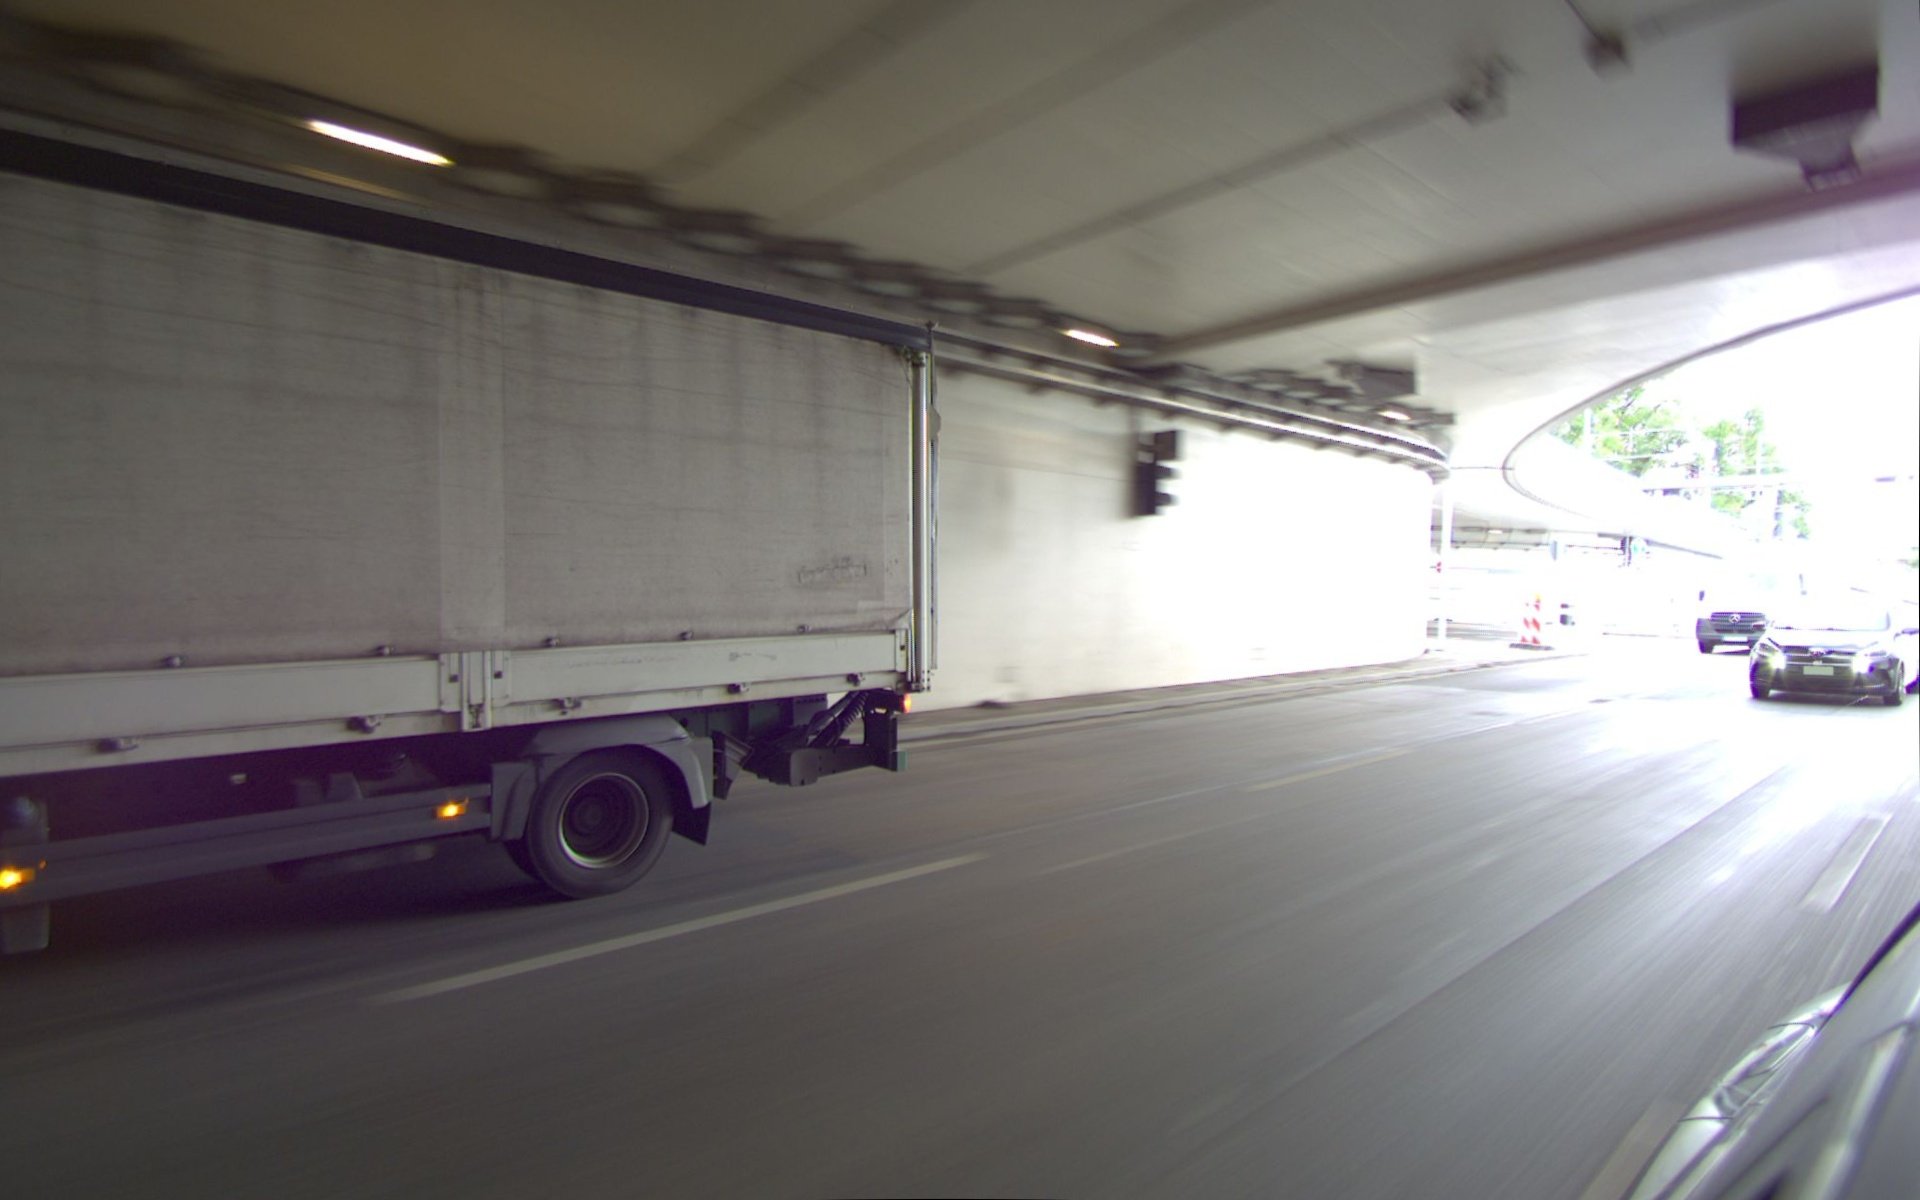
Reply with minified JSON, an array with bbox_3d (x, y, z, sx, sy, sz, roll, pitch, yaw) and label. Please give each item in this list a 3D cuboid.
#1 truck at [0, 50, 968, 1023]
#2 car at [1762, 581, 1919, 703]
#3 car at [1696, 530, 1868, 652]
[{"bbox_3d":[-3.403,-0.223,4.894,7.124,3.221,2.556,0,0,-43],"label":"truck"},{"bbox_3d":[13.281,0.520,14.934,3.651,1.581,1.638,-1,0,-41],"label":"car"},{"bbox_3d":[22.013,-0.228,26.977,6.735,2.883,2.107,0,1,-38],"label":"car"}]
